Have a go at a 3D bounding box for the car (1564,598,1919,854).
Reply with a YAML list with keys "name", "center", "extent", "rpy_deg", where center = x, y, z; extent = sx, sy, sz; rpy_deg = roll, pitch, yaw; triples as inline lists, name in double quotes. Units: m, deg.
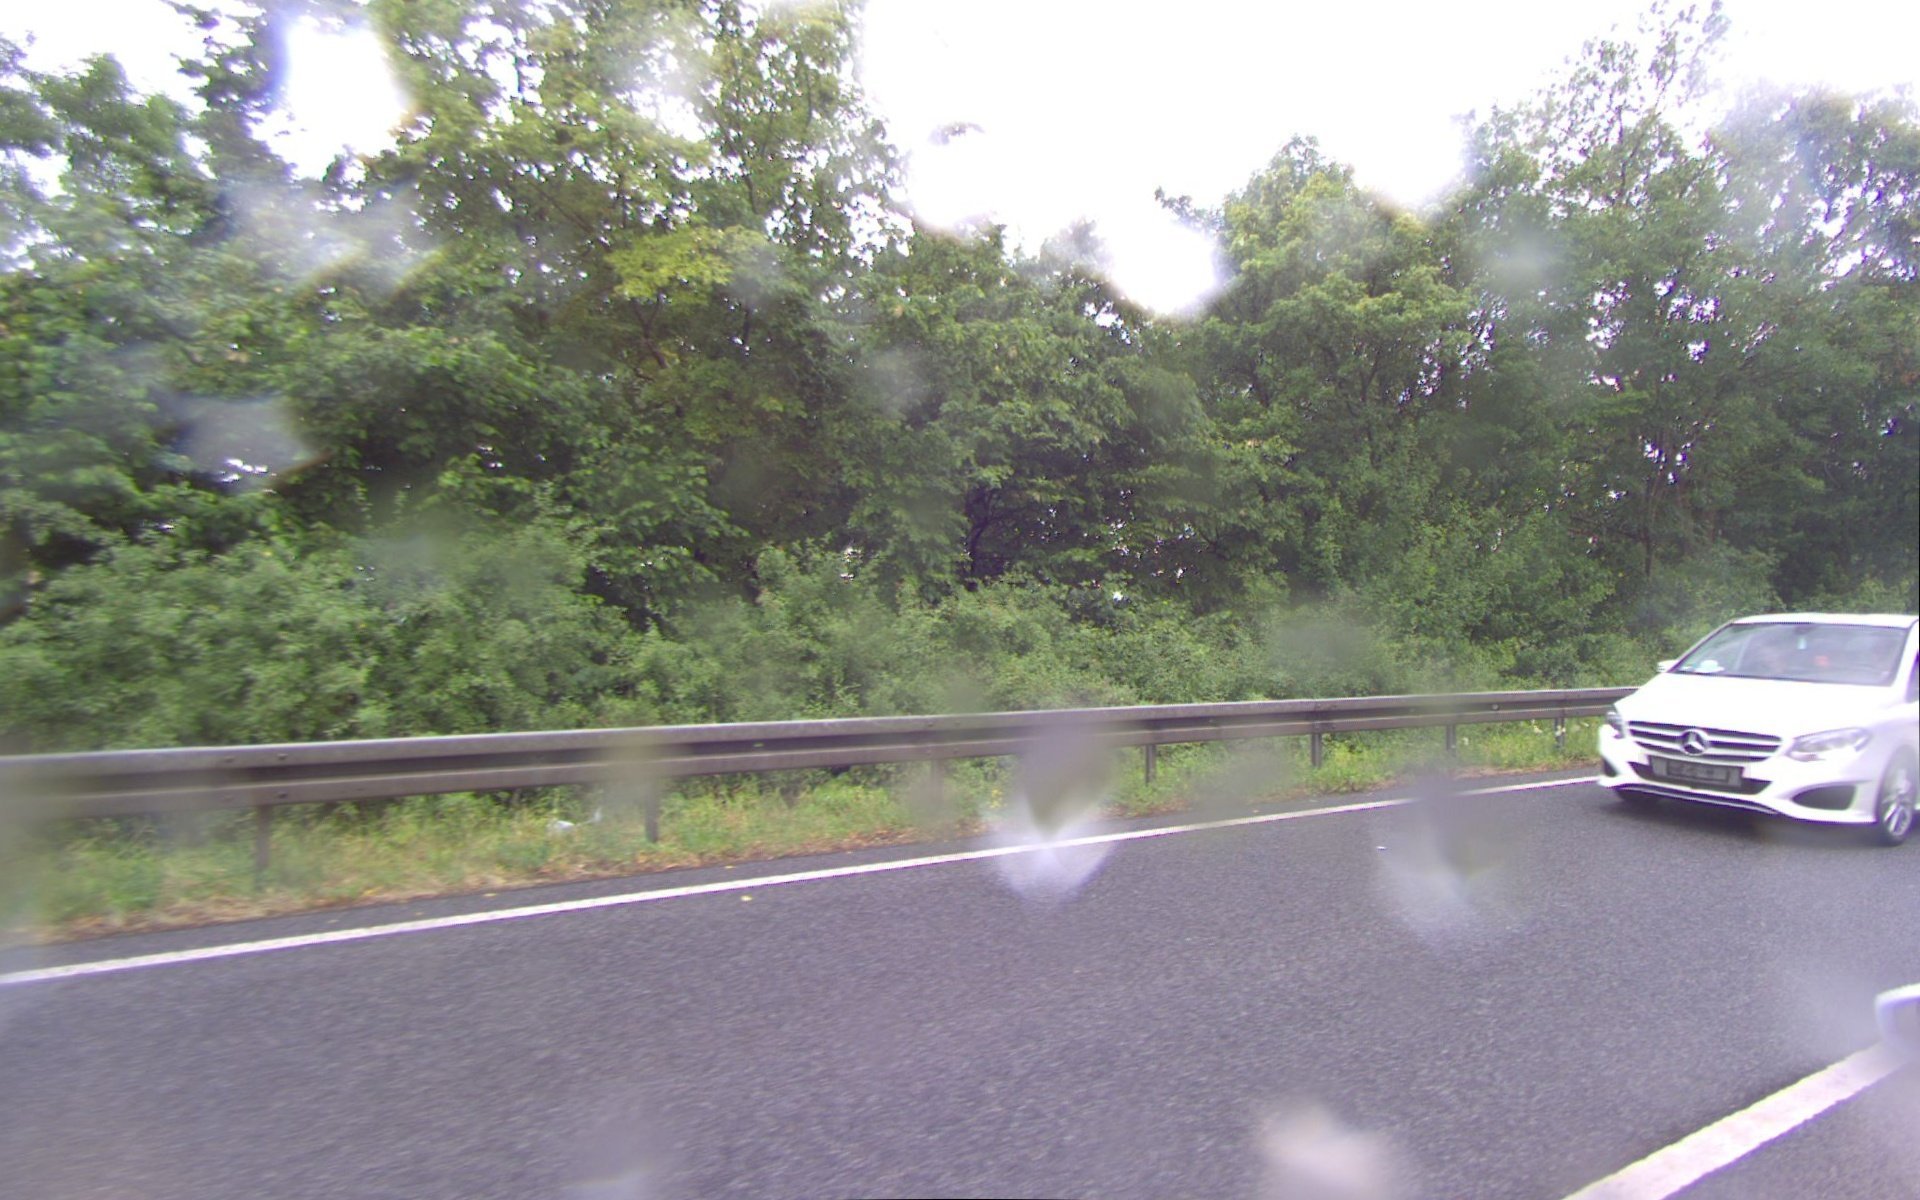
- name: "car"
  center: [6.962, 0.817, 8.066]
  extent: [4.389, 1.576, 1.684]
  rpy_deg: [1, 0, -30]
